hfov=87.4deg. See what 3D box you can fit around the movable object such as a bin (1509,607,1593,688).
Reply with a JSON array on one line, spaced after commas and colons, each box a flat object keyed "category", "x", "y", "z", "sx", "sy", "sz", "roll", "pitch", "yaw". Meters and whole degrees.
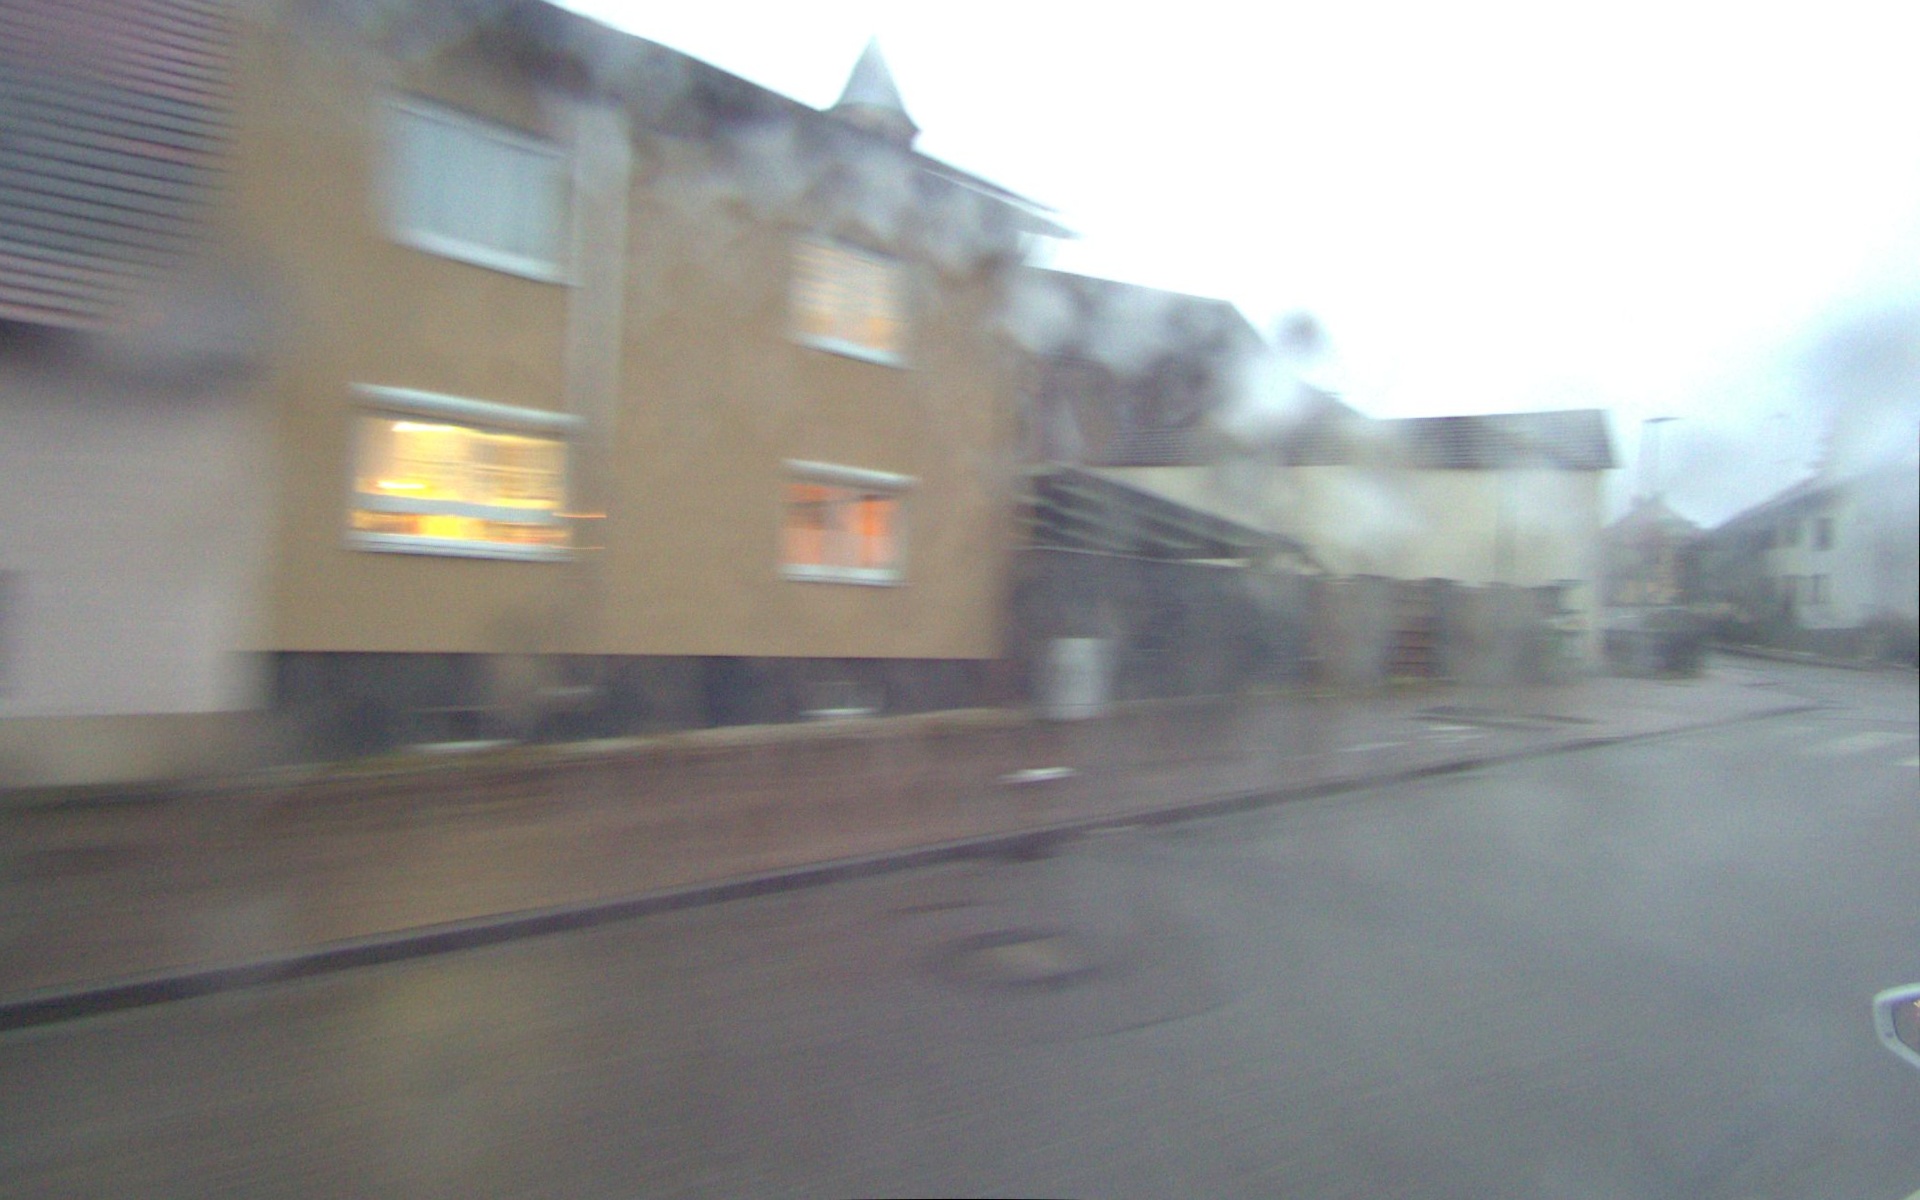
[{"category": "movable object such as a bin", "x": 11.977, "y": 0.940, "z": 20.359, "sx": 1.277, "sy": 1.564, "sz": 1.088, "roll": 1, "pitch": -1, "yaw": -38}]
